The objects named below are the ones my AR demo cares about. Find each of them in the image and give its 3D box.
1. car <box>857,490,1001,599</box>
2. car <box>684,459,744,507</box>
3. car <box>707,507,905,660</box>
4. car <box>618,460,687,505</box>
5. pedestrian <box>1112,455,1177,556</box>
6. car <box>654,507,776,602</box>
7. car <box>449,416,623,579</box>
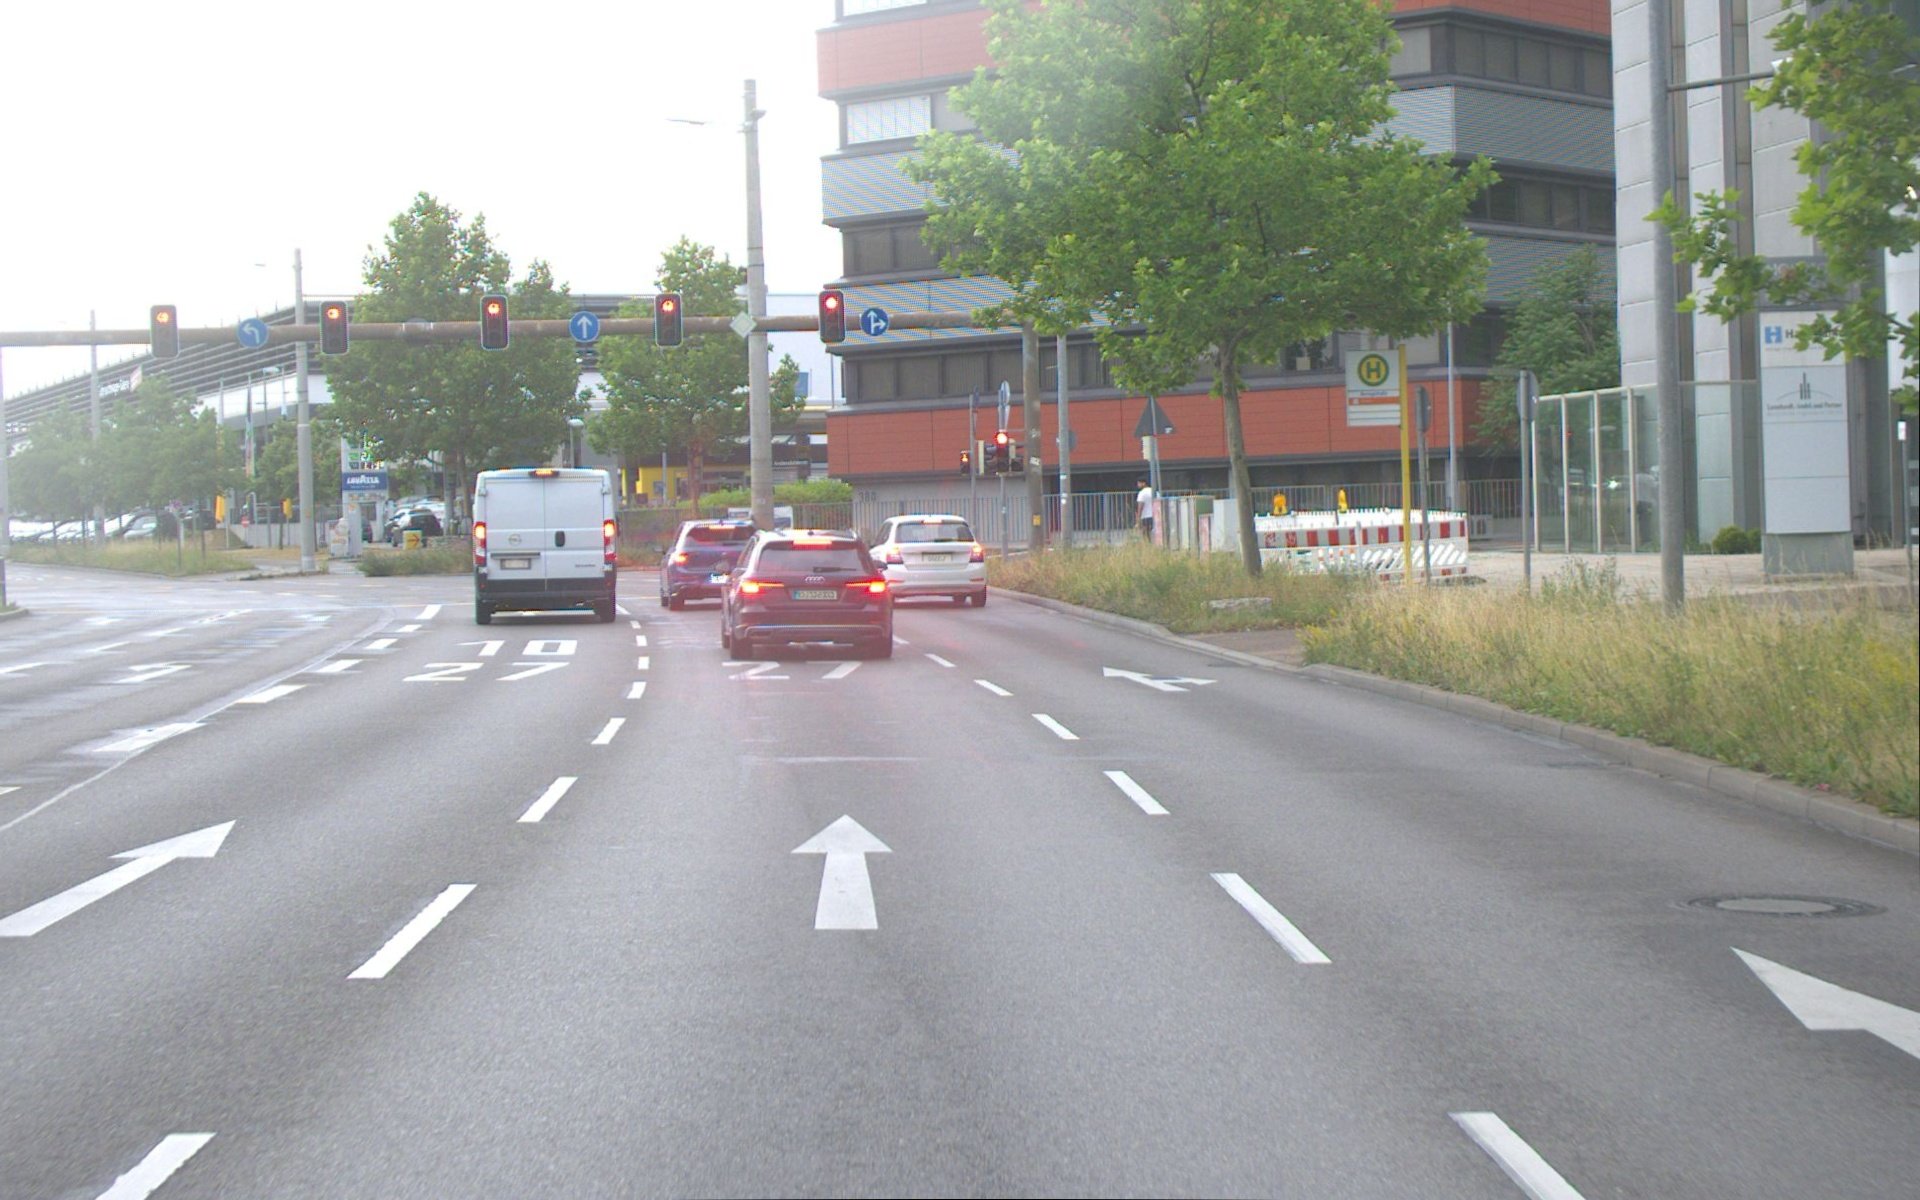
[{"bbox_3d":[-0.538,-0.895,55.314,1.828,1.650,4.001,-1,1,-7],"label":"car"},{"bbox_3d":[-10.666,-5.039,148.897,1.674,2.007,3.138,0,1,-23],"label":"car"},{"bbox_3d":[-1.790,-0.204,38.823,1.993,1.631,4.001,0,1,-6],"label":"car"},{"bbox_3d":[-14.054,-5.354,157.020,1.870,2.007,3.775,0,1,-27],"label":"car"},{"bbox_3d":[4.027,-2.081,75.093,1.143,2.118,1.223,-3,3,-6],"label":"pedestrian"},{"bbox_3d":[-4.035,-0.757,56.535,1.893,1.460,3.910,-2,1,-4],"label":"car"},{"bbox_3d":[-6.384,-1.490,51.327,2.444,2.286,4.906,0,1,-9],"label":"car"}]
